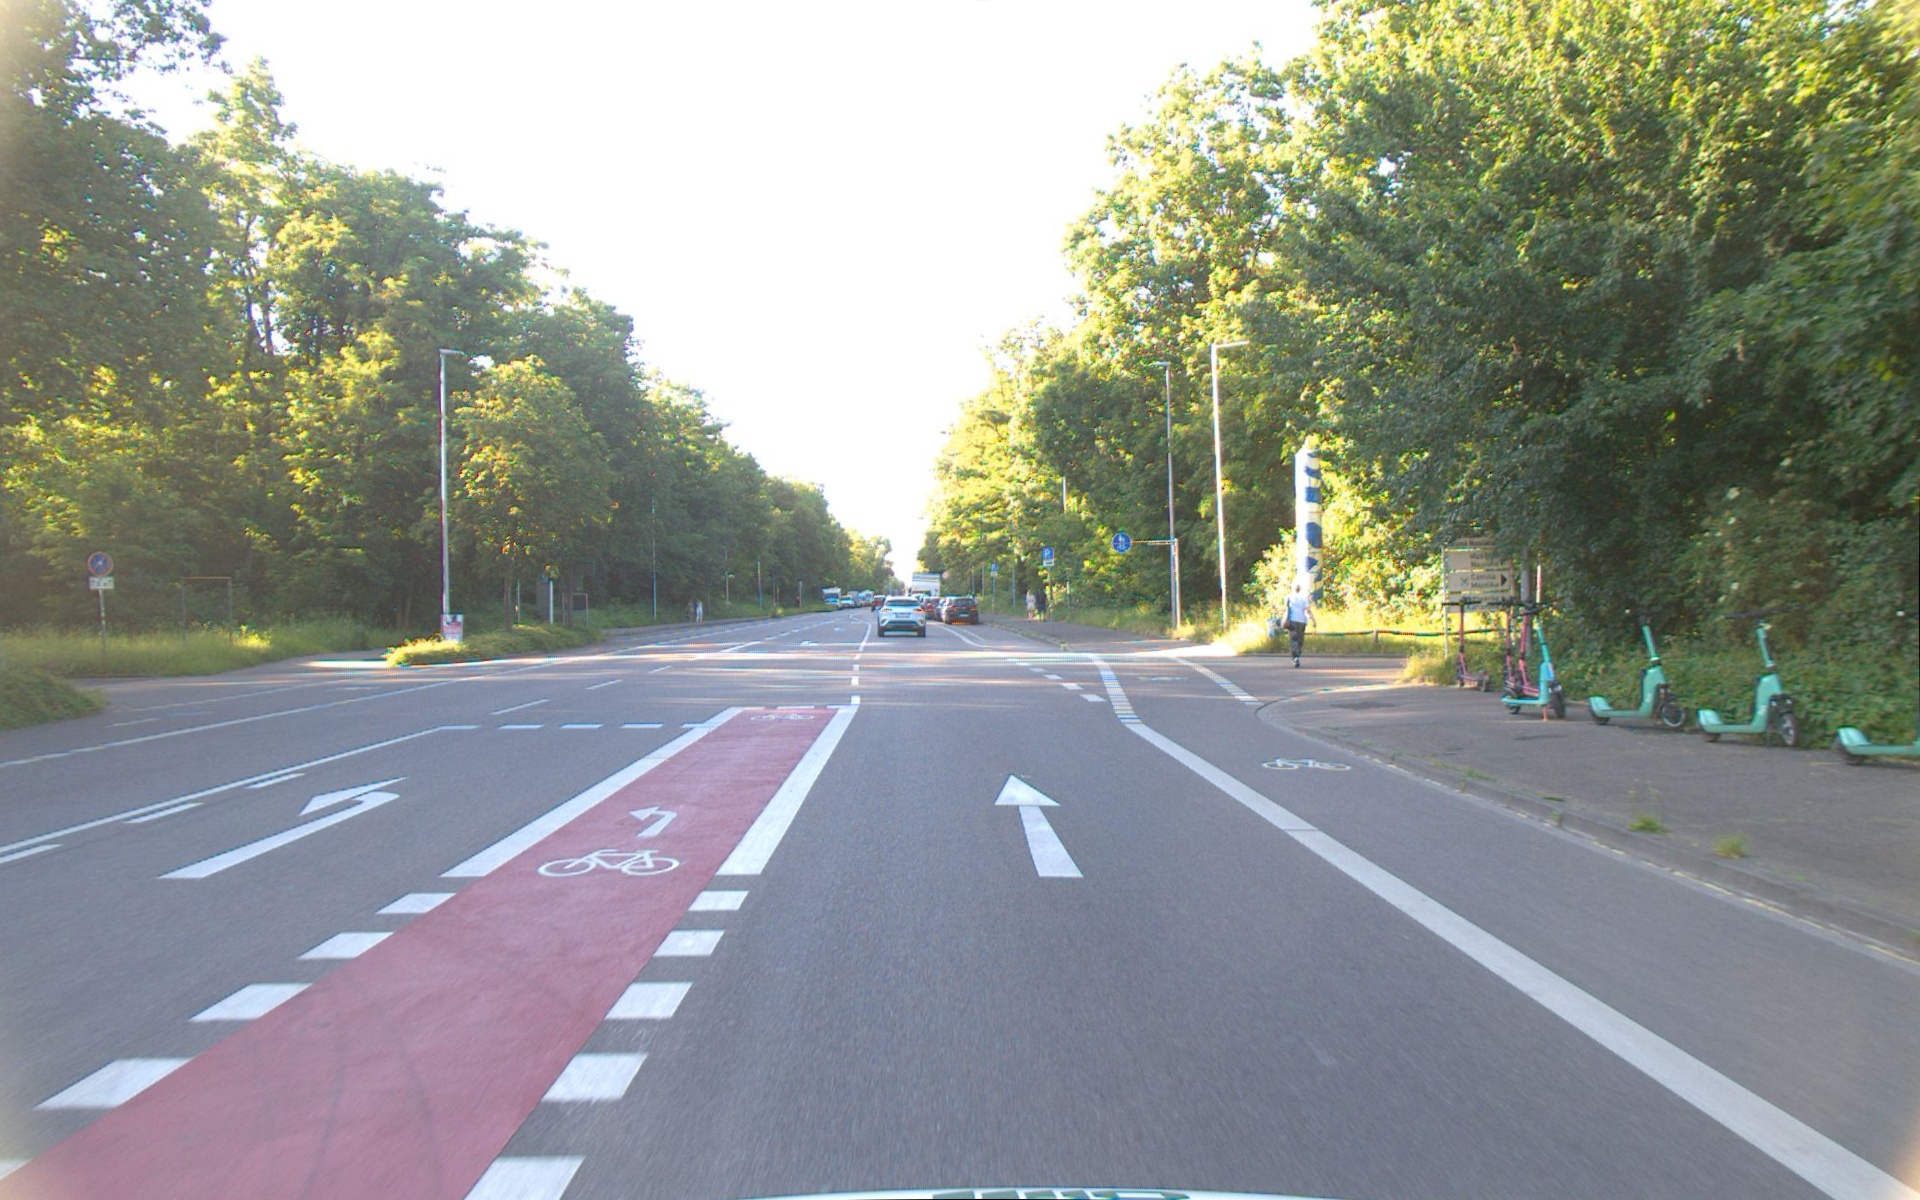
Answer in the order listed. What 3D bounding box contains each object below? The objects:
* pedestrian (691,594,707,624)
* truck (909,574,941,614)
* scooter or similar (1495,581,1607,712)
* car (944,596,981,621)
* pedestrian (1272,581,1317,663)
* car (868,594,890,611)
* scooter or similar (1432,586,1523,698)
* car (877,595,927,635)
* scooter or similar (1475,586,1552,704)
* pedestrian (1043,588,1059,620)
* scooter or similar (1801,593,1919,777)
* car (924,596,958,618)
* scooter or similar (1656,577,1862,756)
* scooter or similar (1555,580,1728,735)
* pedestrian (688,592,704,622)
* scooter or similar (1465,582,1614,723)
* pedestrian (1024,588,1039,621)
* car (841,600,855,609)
[{"bbox_3d":[-17.719,0.595,112.407,0.814,2.049,1.269,-1,0,0],"label":"pedestrian"},{"bbox_3d":[-3.294,-0.559,152.083,2.743,3.632,8.030,0,0,-3],"label":"truck"},{"bbox_3d":[6.916,0.519,19.425,0.668,1.448,1.681,-1,0,-1],"label":"scooter or similar"},{"bbox_3d":[0.106,0.457,92.697,1.953,1.350,3.999,-1,0,-2],"label":"car"},{"bbox_3d":[6.617,0.434,32.711,0.739,1.591,0.803,-1,0,3],"label":"pedestrian"},{"bbox_3d":[-7.798,0.237,159.845,1.953,1.545,3.999,-1,0,-1],"label":"car"},{"bbox_3d":[7.010,0.551,22.479,0.668,1.448,1.681,-1,0,-1],"label":"scooter or similar"},{"bbox_3d":[-2.231,0.546,63.124,1.727,1.485,3.814,1,0,-5],"label":"car"},{"bbox_3d":[6.991,0.550,20.939,0.667,1.448,1.246,-1,0,7],"label":"scooter or similar"},{"bbox_3d":[4.733,0.211,86.162,0.728,1.627,0.797,-1,0,-2],"label":"pedestrian"},{"bbox_3d":[7.039,0.613,12.266,0.459,1.329,1.470,-1,0,-23],"label":"scooter or similar"},{"bbox_3d":[-1.244,0.427,108.366,1.954,1.350,3.996,-1,0,-5],"label":"car"},{"bbox_3d":[6.891,0.542,14.361,0.670,1.448,1.675,-1,0,-14],"label":"scooter or similar"},{"bbox_3d":[6.737,0.540,16.430,0.671,1.448,1.674,-1,0,-16],"label":"scooter or similar"},{"bbox_3d":[-18.007,0.479,112.720,0.846,2.049,1.269,-1,0,0],"label":"pedestrian"},{"bbox_3d":[6.308,0.544,18.101,0.671,1.448,1.674,-1,0,-16],"label":"scooter or similar"},{"bbox_3d":[3.738,0.228,86.112,0.684,1.682,0.876,-1,0,-2],"label":"pedestrian"},{"bbox_3d":[-16.156,0.645,238.677,1.954,1.350,3.998,-1,0,-3],"label":"car"}]
